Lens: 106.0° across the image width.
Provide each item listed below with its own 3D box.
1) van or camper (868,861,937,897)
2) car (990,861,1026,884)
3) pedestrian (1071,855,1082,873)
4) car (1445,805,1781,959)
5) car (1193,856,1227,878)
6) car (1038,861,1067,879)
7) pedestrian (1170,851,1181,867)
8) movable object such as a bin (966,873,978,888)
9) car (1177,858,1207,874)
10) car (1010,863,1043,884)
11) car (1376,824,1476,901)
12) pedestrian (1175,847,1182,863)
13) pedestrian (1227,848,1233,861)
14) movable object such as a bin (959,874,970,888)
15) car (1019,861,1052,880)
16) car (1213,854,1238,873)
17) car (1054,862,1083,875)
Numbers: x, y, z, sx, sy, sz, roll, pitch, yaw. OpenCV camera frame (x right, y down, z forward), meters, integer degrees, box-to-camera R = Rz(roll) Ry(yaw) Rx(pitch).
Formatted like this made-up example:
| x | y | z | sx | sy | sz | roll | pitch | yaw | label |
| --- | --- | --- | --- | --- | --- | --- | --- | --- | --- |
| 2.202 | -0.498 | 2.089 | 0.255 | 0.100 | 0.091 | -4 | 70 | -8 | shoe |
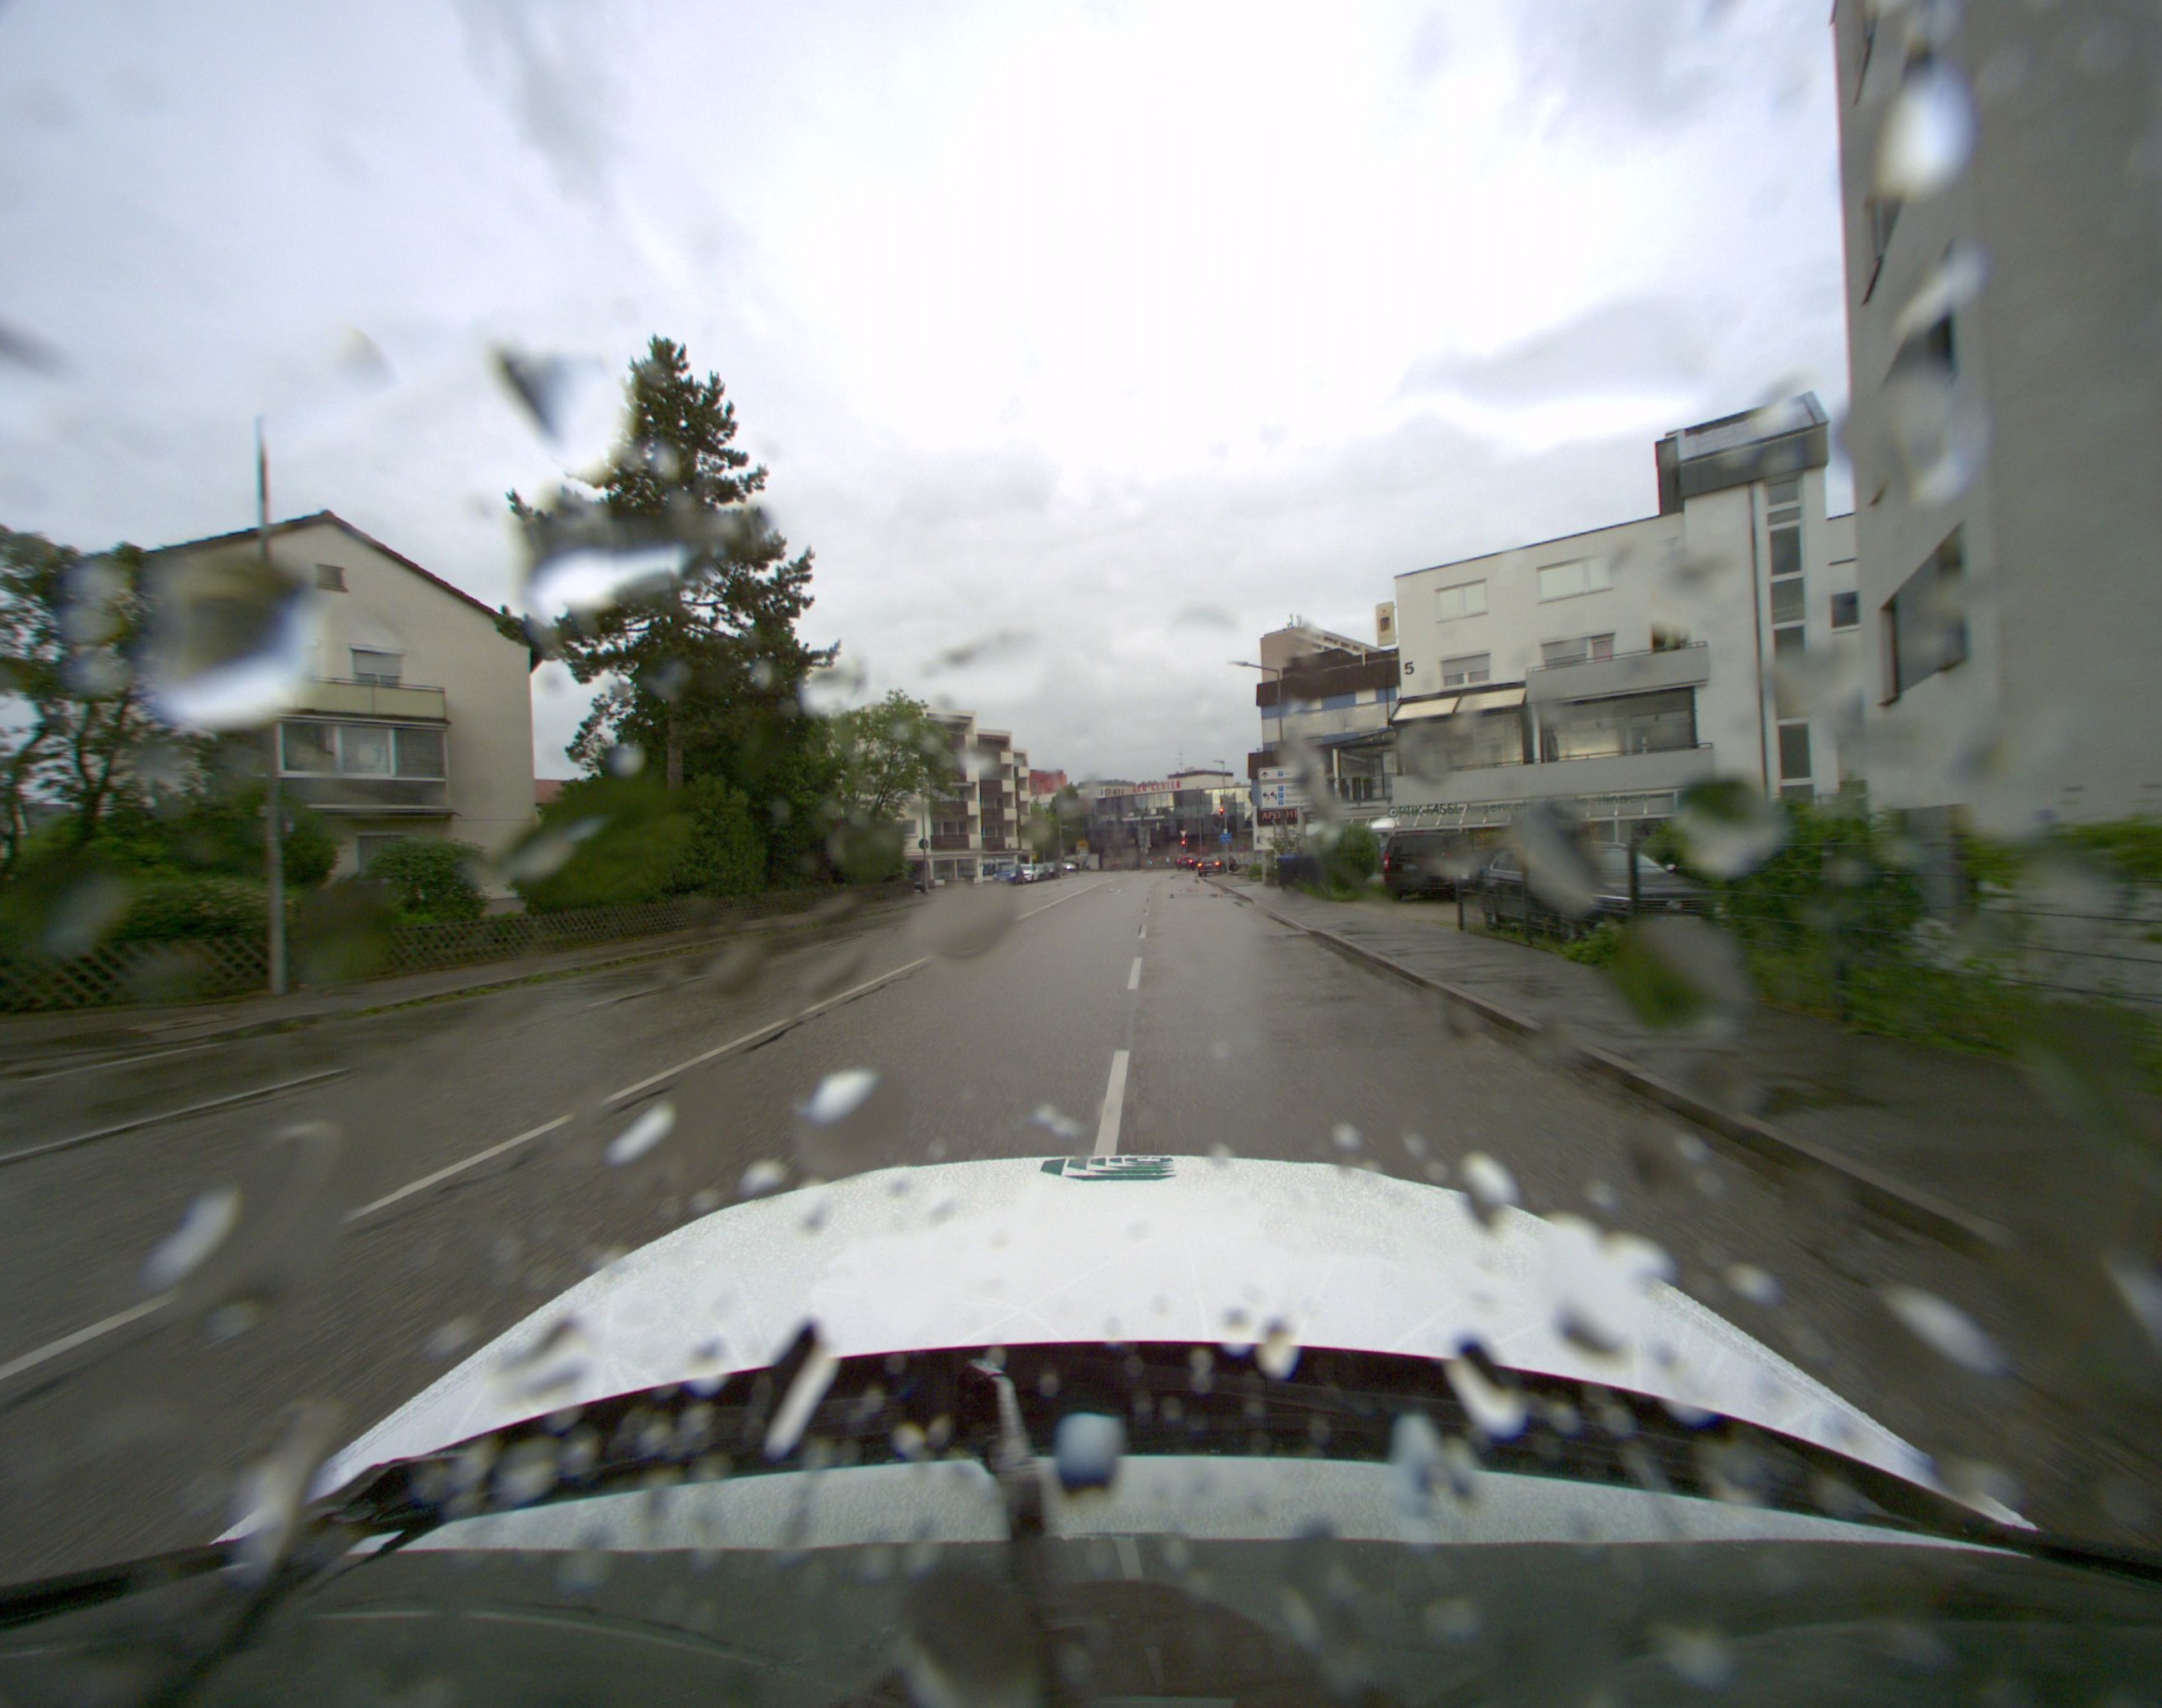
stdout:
| x | y | z | sx | sy | sz | roll | pitch | yaw | label |
| --- | --- | --- | --- | --- | --- | --- | --- | --- | --- |
| -10.964 | 1.485 | 49.677 | 2.010 | 1.924 | 5.158 | -3 | 1 | -38 | van or camper |
| -5.302 | 1.294 | 59.525 | 1.643 | 1.521 | 4.333 | -2 | 0 | 7 | car |
| -0.501 | 1.111 | 91.617 | 0.741 | 2.013 | 0.927 | 1 | 0 | 28 | pedestrian |
| 7.540 | 0.347 | 12.284 | 1.987 | 1.785 | 4.691 | -3 | 0 | 0 | car |
| 9.947 | 1.006 | 62.538 | 1.978 | 1.534 | 4.667 | -2 | -2 | 17 | car |
| -2.652 | 1.443 | 76.191 | 1.924 | 1.542 | 4.281 | -2 | 0 | 7 | car |
| 10.286 | 0.562 | 88.981 | 0.912 | 1.659 | 0.750 | 1 | 1 | -21 | pedestrian |
| -7.465 | 1.819 | 55.731 | 0.644 | 0.966 | 0.684 | -3 | -1 | 7 | movable object such as a bin |
| 11.192 | 1.214 | 82.031 | 1.788 | 1.419 | 4.023 | -3 | -1 | 24 | car |
| -4.361 | 1.530 | 65.335 | 1.684 | 1.464 | 4.694 | -2 | 0 | 7 | car |
| 10.279 | 0.201 | 24.050 | 1.974 | 2.013 | 4.810 | -3 | 0 | 31 | car |
| 10.754 | 0.094 | 89.832 | 0.607 | 1.659 | 0.673 | 1 | 1 | 2 | pedestrian |
| 23.752 | 0.037 | 129.539 | 0.781 | 2.014 | 0.673 | -3 | -1 | 17 | pedestrian |
| -8.034 | 1.860 | 56.214 | 0.571 | 0.903 | 0.599 | -3 | -1 | 7 | movable object such as a bin |
| -3.894 | 1.414 | 70.463 | 1.924 | 1.542 | 4.530 | -2 | 0 | 7 | car |
| 12.985 | 0.853 | 73.092 | 1.685 | 1.486 | 4.017 | -6 | -1 | 16 | car |
| -1.758 | 1.986 | 112.085 | 2.006 | 1.512 | 4.391 | 1 | 1 | -30 | car |
